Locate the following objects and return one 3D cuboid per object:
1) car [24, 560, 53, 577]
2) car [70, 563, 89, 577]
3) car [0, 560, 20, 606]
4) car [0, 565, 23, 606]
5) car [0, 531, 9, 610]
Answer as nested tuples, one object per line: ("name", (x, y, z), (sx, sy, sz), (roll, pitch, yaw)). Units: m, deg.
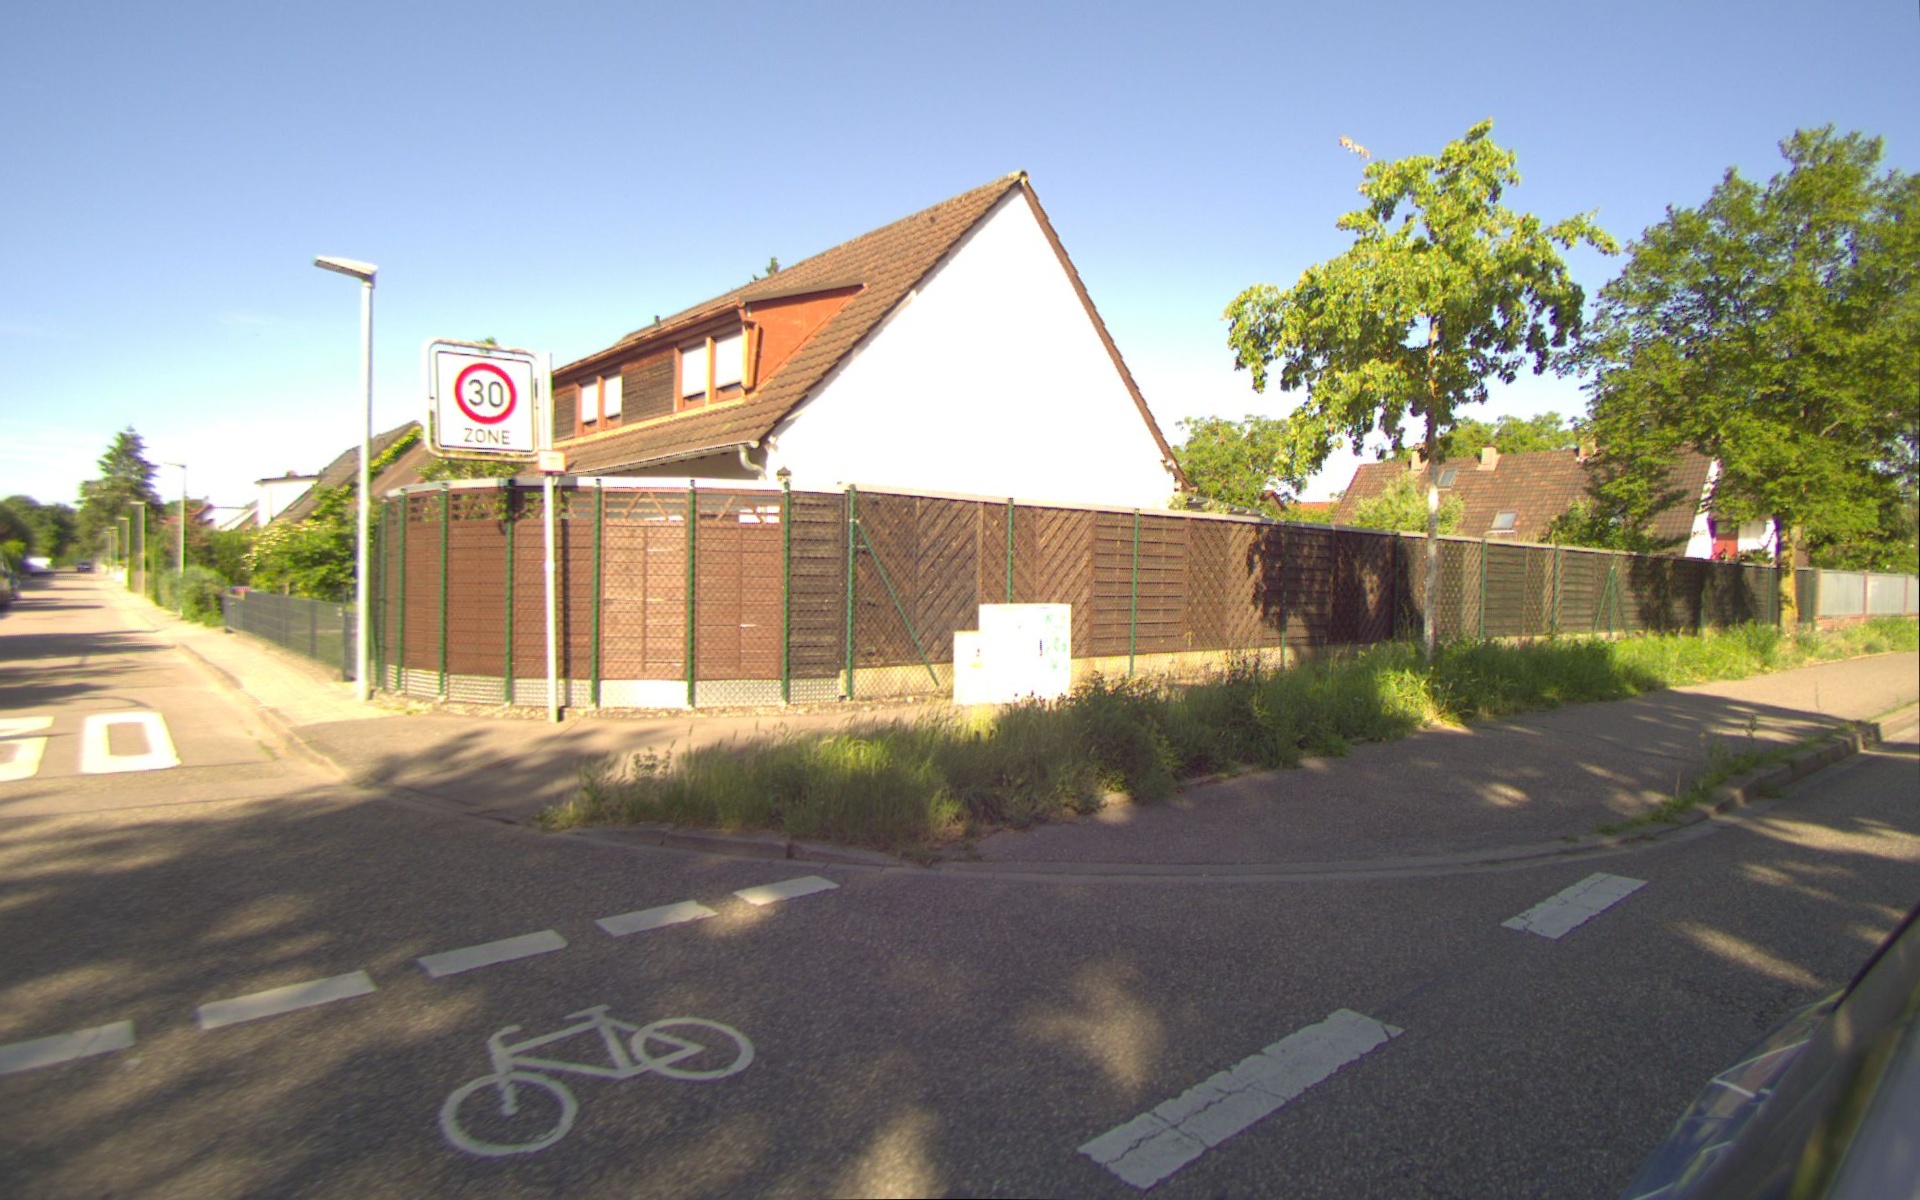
("car", (-96.878, -3.325, 106.417), (1.875, 1.732, 3.999), (0, 1, -36))
("car", (-109.405, -3.745, 125.753), (1.655, 1.696, 3.543), (0, 1, -40))
("car", (-39.184, -0.711, 40.716), (1.967, 1.779, 3.969), (0, 1, -43))
("car", (-42.763, -0.659, 44.718), (1.967, 1.779, 3.969), (0, 1, -43))
("car", (-35.249, -0.983, 36.076), (1.967, 2.682, 5.676), (0, -1, -43))
